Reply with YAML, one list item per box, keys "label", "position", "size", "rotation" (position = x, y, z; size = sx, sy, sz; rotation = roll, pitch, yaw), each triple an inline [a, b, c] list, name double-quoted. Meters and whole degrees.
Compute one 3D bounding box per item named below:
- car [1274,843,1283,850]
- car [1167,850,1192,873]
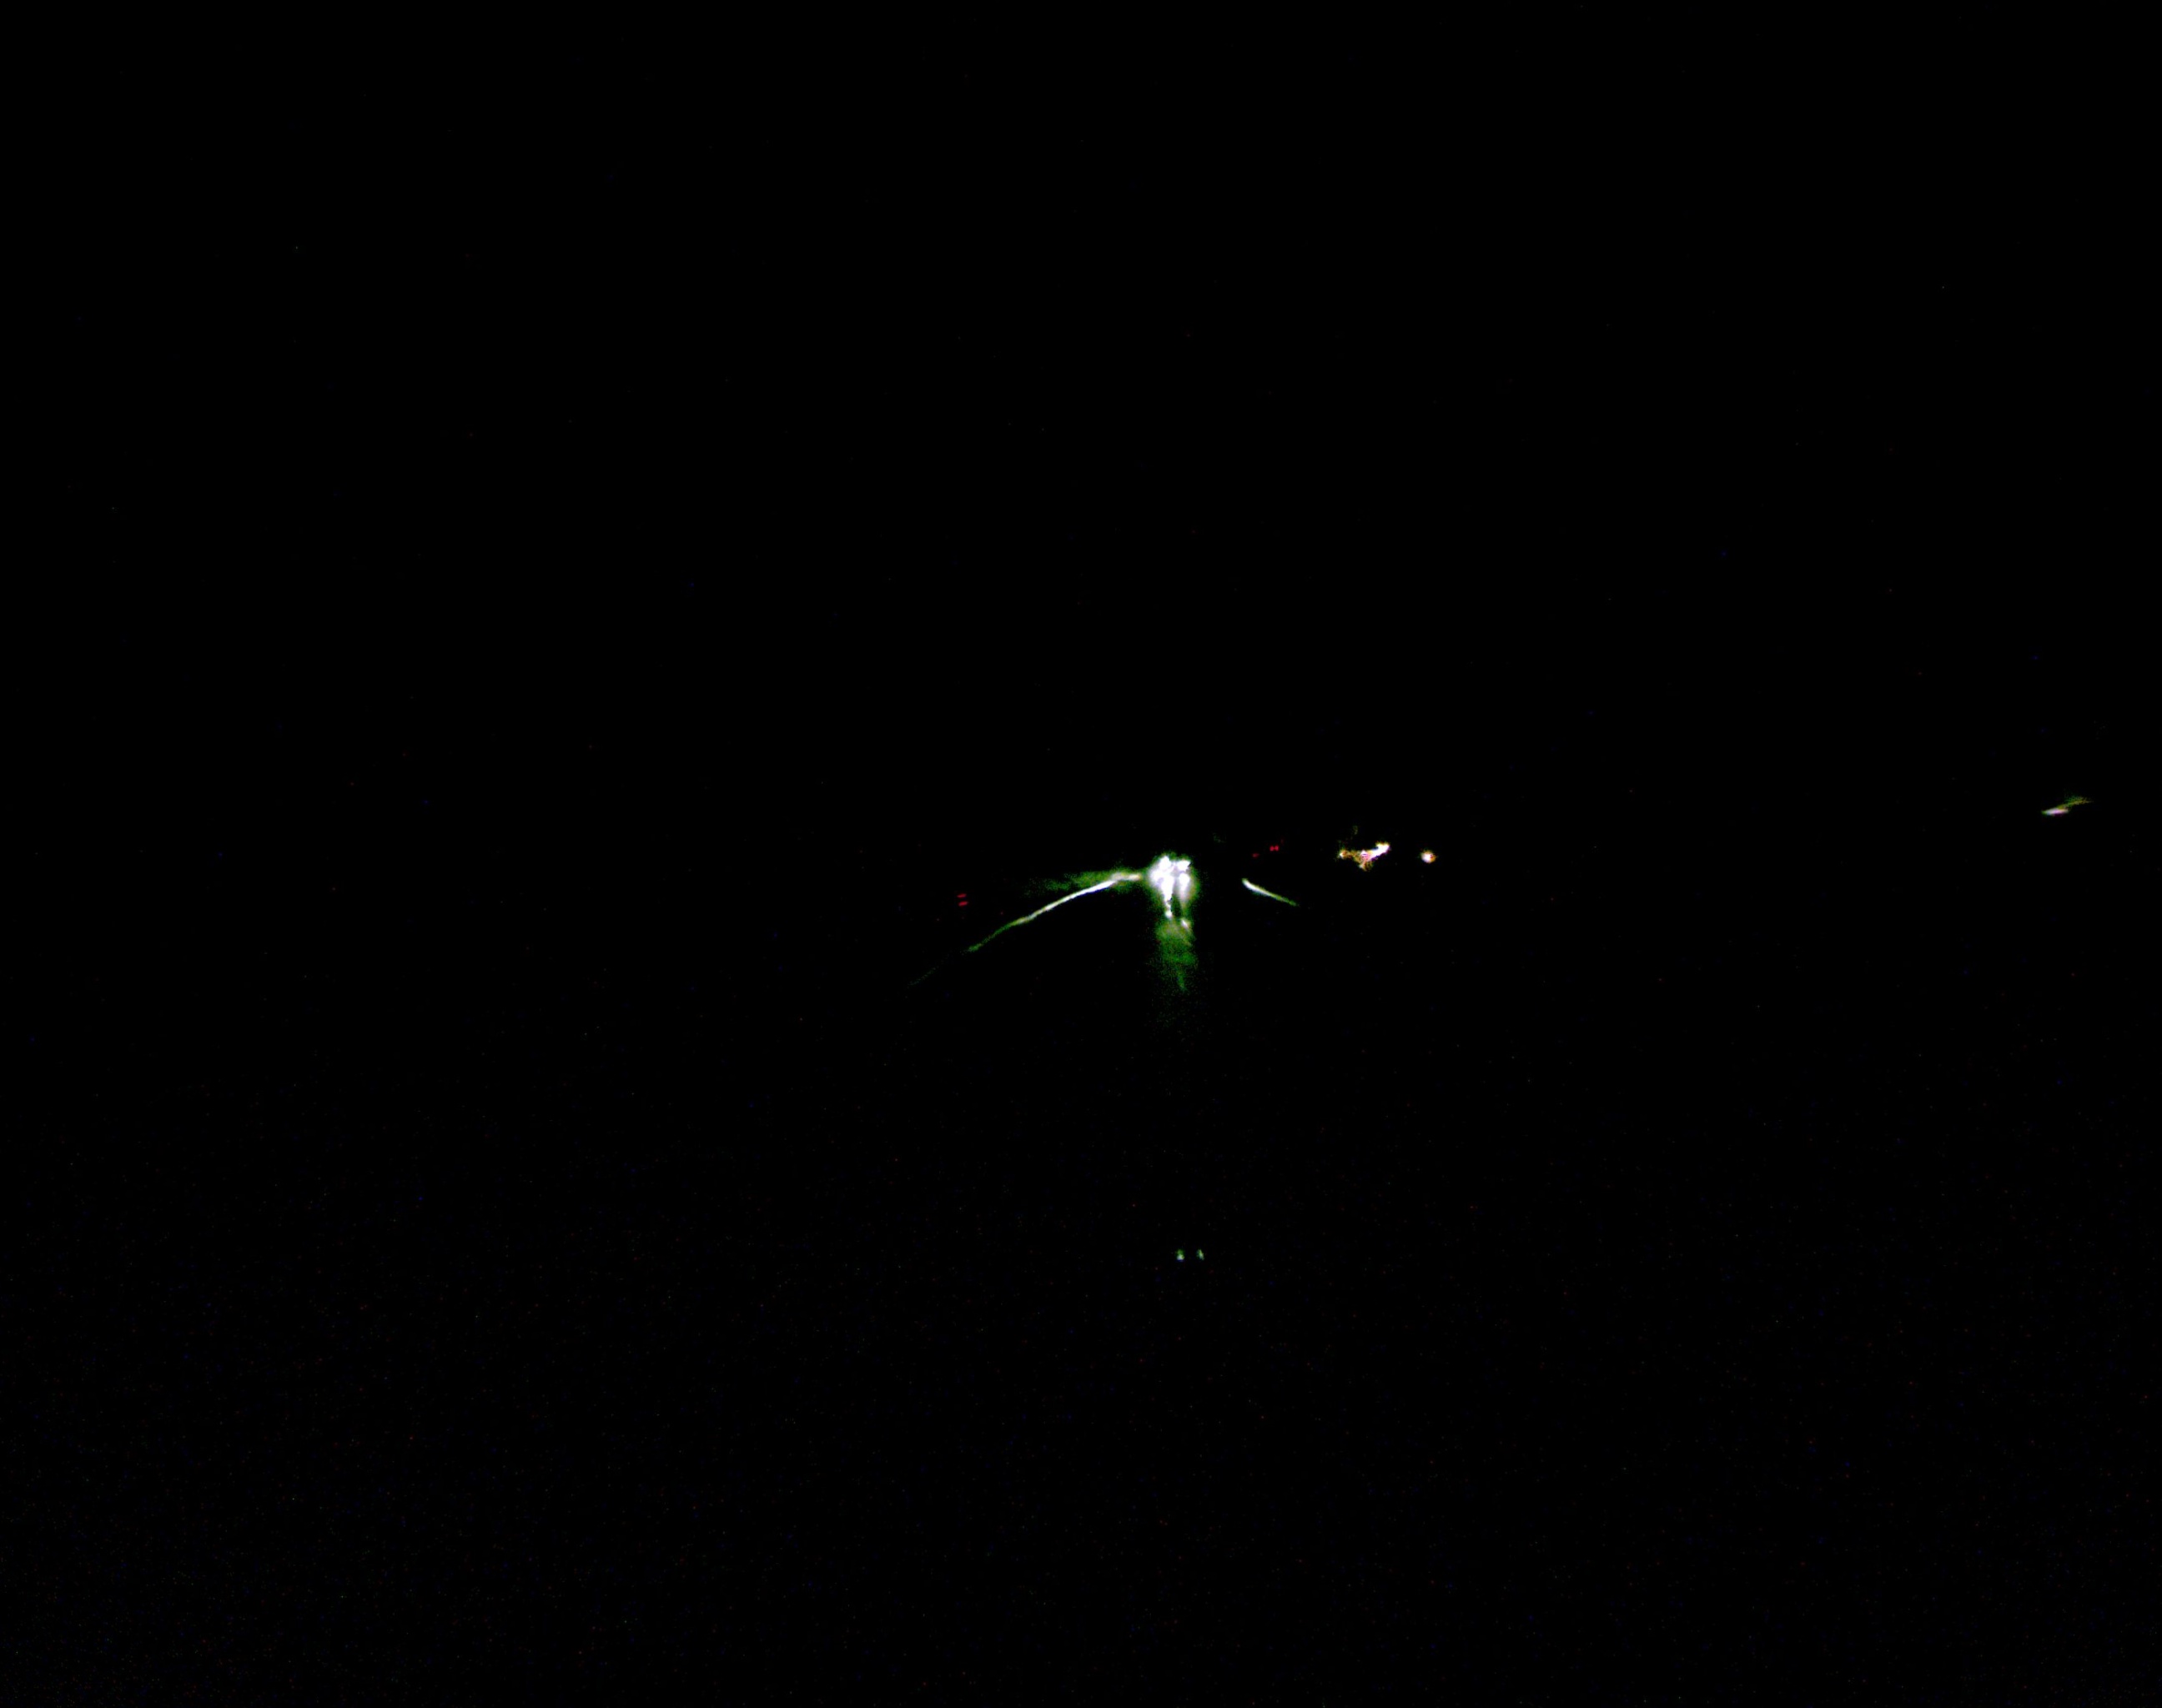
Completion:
- label: "car"
  position: [45.029, -1.789, 172.782]
  size: [1.737, 1.533, 4.004]
  rotation: [-2, 1, 17]
- label: "car"
  position: [8.172, 0.596, 62.698]
  size: [1.958, 1.712, 4.002]
  rotation: [-1, 1, 9]
